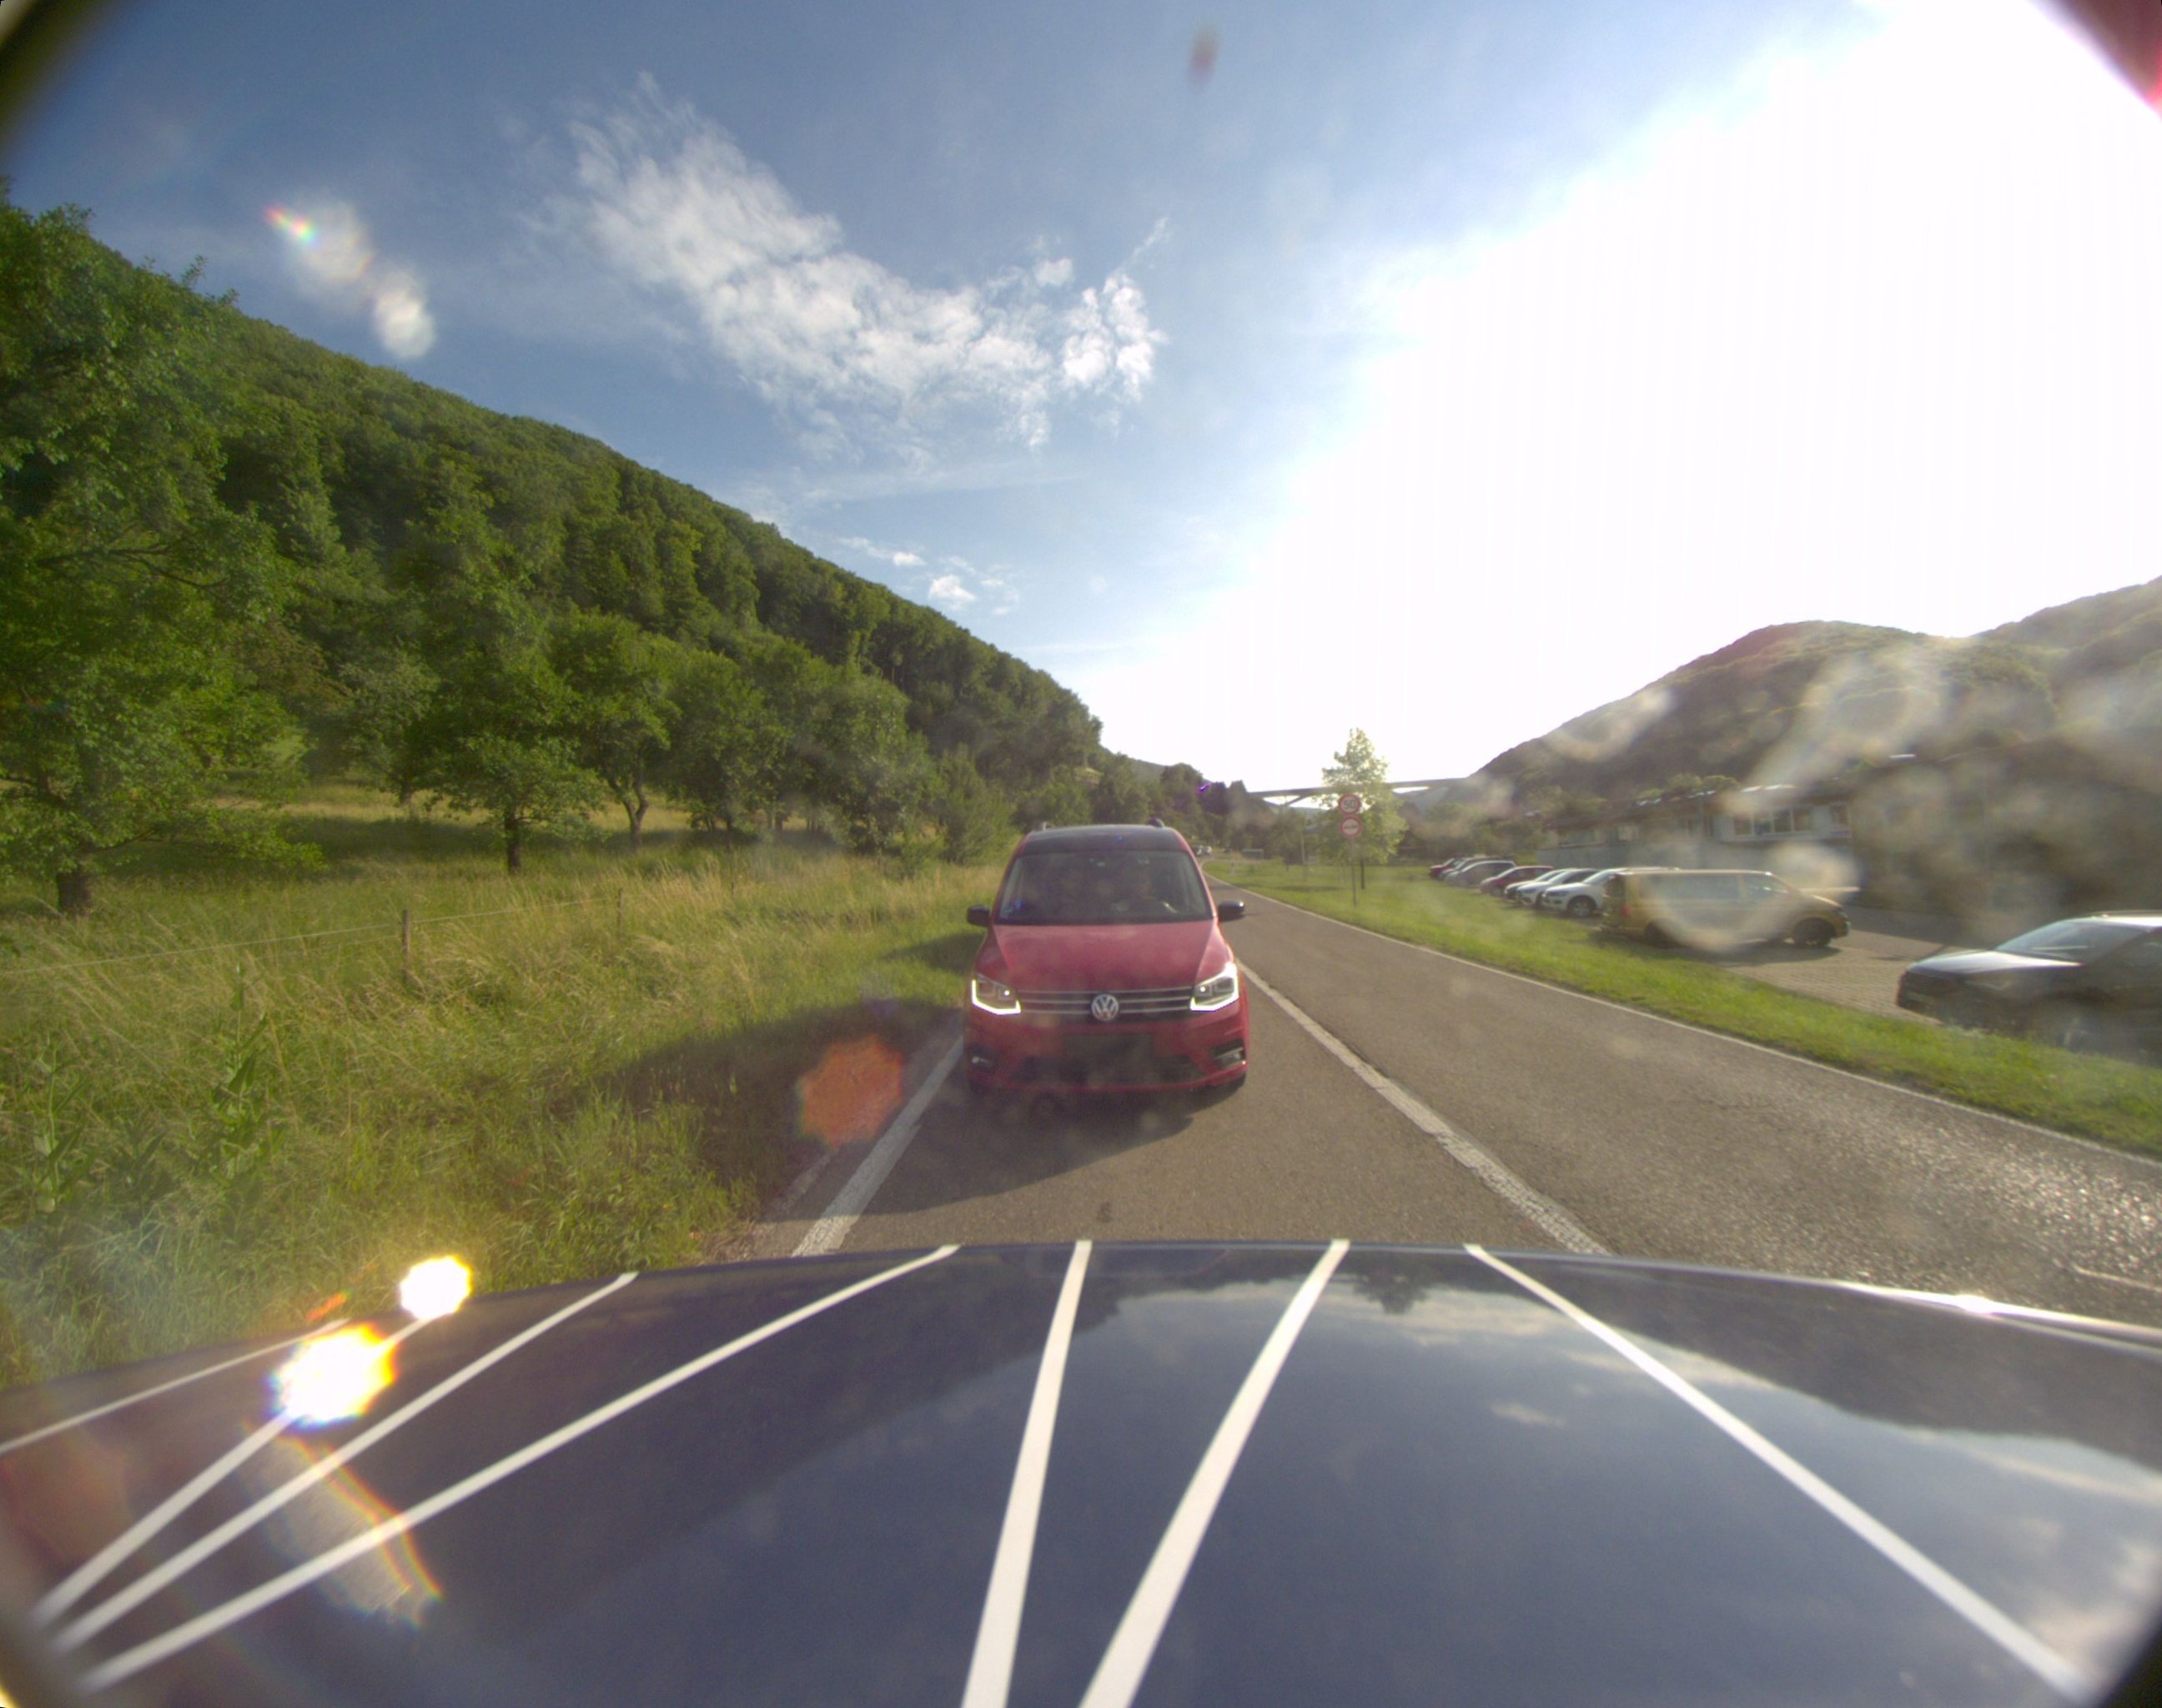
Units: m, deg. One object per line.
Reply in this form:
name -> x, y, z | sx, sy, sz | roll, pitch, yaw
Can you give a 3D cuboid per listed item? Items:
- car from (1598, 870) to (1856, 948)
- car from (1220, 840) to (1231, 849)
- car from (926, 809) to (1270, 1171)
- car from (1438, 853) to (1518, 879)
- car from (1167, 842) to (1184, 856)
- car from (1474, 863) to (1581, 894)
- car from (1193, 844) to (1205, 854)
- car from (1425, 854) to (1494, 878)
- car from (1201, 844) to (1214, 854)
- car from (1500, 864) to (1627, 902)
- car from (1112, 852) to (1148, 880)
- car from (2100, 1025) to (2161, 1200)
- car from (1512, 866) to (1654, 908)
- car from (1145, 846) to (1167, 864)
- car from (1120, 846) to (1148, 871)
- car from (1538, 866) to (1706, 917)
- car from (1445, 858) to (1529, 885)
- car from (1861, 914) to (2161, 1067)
car -> 16.372, 1.351, 19.597 | 4.653, 1.802, 2.003 | -1, 0, 20
car -> 32.519, -2.151, 170.834 | 1.909, 1.893, 4.004 | -2, 1, 18
car -> 0.115, 0.731, 6.157 | 1.747, 1.849, 4.348 | -2, 0, 1
car -> 27.590, 0.841, 52.914 | 4.665, 1.752, 2.003 | -1, 0, 18
car -> 12.732, -0.634, 102.443 | 1.797, 1.725, 4.288 | -2, 0, 14
car -> 22.692, 1.243, 38.806 | 4.437, 1.443, 2.003 | -1, 0, 20
car -> 20.085, -0.832, 129.374 | 1.677, 1.637, 3.349 | -2, 0, 12
car -> 28.879, 0.929, 58.088 | 4.437, 1.709, 2.003 | -1, 0, 18
car -> 23.940, -0.917, 143.375 | 1.996, 1.706, 4.005 | -3, -1, 14
car -> 21.399, 1.266, 33.930 | 4.437, 1.573, 2.003 | -1, 0, 18
car -> 2.754, 0.665, 43.733 | 1.798, 1.464, 4.283 | -2, 0, 1
car -> 12.082, 2.410, 5.996 | 4.645, 1.488, 1.915 | -1, 0, 15
car -> 20.190, 1.319, 30.776 | 4.437, 1.577, 2.003 | -1, 0, 20
car -> 7.413, 0.095, 74.518 | 1.911, 1.675, 4.003 | -2, -1, 9
car -> 4.063, 0.326, 58.588 | 1.998, 1.838, 4.001 | -2, 0, 3
car -> 19.315, 1.322, 27.378 | 4.545, 1.691, 2.003 | -1, 0, 20
car -> 25.793, 1.108, 48.453 | 4.437, 1.573, 2.003 | -2, 0, 18
car -> 13.507, 1.703, 9.868 | 4.289, 1.628, 1.915 | -3, 0, 15
